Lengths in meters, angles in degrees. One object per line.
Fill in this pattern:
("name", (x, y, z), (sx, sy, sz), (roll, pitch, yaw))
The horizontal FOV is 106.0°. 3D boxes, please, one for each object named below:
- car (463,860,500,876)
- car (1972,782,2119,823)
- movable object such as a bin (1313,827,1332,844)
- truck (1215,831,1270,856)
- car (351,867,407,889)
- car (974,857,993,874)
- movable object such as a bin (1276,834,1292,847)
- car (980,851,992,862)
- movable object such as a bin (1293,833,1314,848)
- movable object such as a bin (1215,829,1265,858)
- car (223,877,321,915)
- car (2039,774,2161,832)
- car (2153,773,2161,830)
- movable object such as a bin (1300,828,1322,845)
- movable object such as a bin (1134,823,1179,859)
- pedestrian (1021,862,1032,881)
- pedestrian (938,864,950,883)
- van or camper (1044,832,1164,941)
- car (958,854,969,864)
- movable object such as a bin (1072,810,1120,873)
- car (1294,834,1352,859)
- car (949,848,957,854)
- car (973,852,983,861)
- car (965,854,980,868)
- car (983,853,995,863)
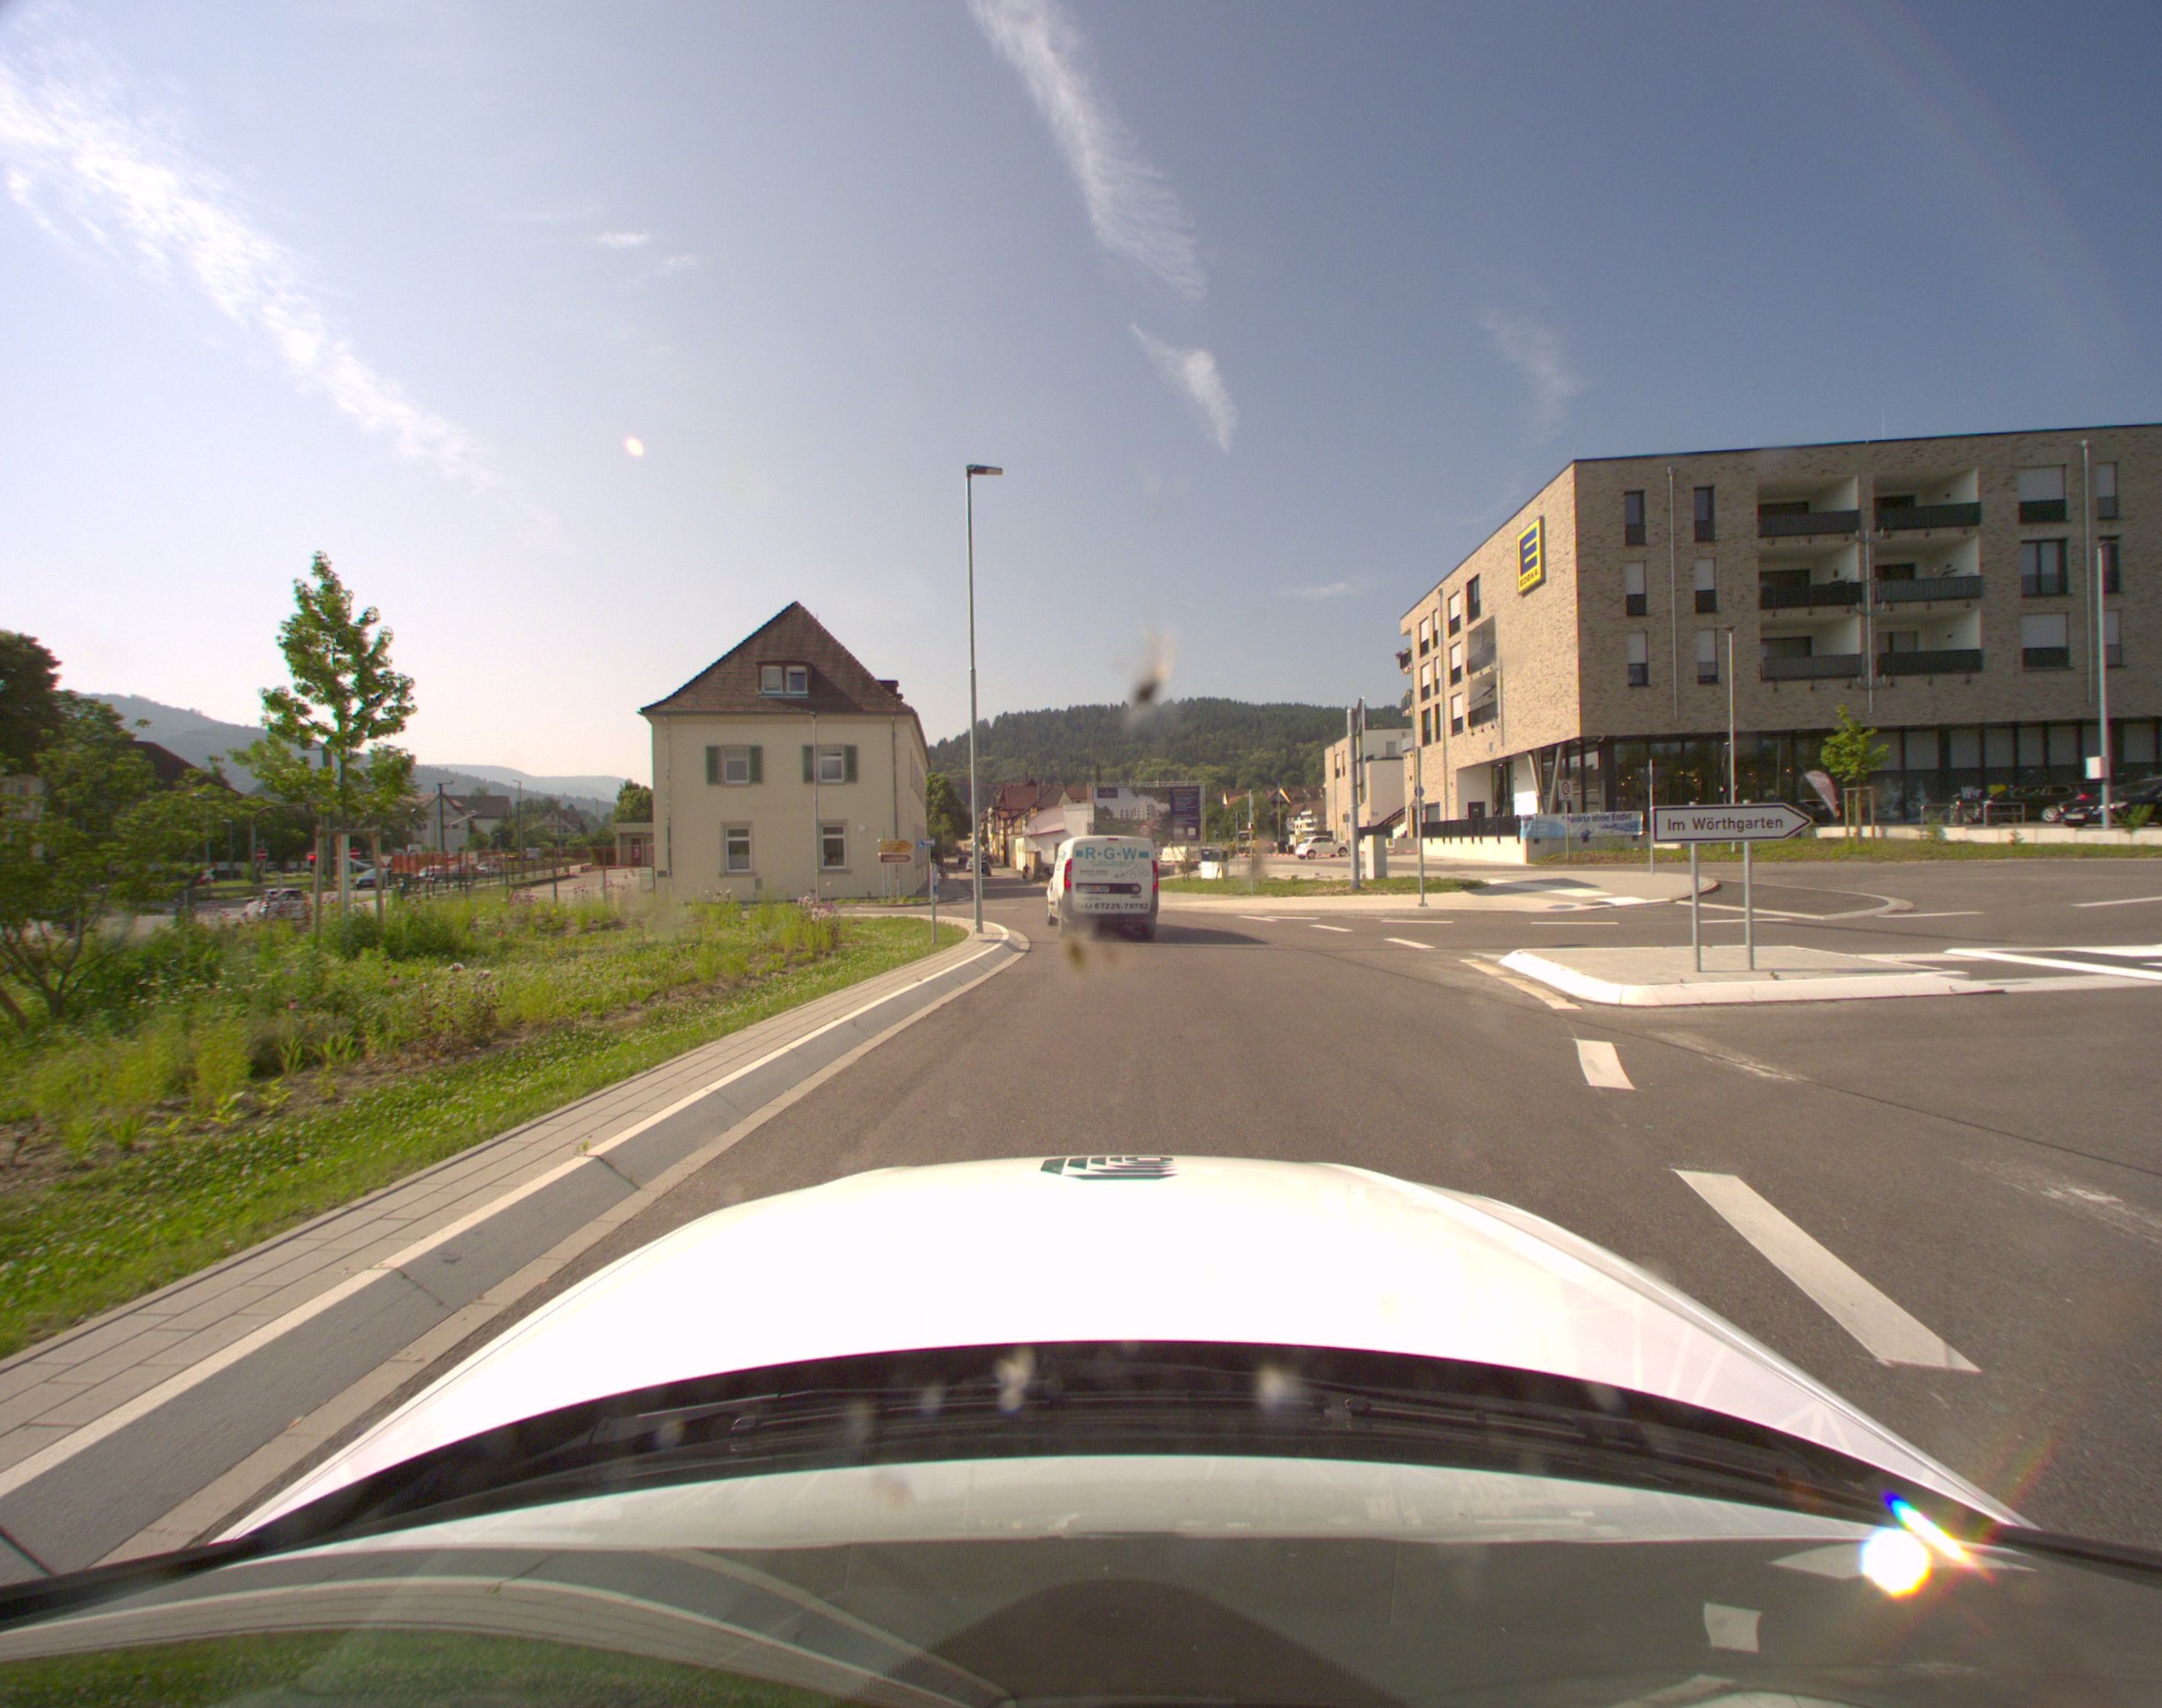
("car", (-58.799, 1.365, 79.961), (1.713, 1.397, 3.977), (1, 1, -18))
("car", (35.536, -1.875, 30.123), (1.481, 1.350, 3.332), (1, 1, 0))
("movable object such as a bin", (21.459, -1.676, 72.341), (1.295, 1.464, 1.320), (1, 1, 1))
("truck", (16.592, -1.086, 83.568), (5.274, 2.265, 2.228), (-3, 0, 16))
("car", (-52.176, 1.763, 60.616), (1.713, 1.397, 3.977), (1, 1, -18))
("car", (-10.261, 1.185, 85.341), (1.810, 1.596, 3.916), (1, 1, -8))
("movable object such as a bin", (19.940, -1.340, 79.937), (1.291, 1.268, 1.320), (1, 1, 1))
("car", (-17.133, 0.416, 146.287), (1.871, 2.013, 3.986), (-1, 1, -10))
("movable object such as a bin", (21.174, -1.279, 77.491), (1.574, 1.464, 1.320), (1, 1, 0))
("movable object such as a bin", (15.662, -1.011, 80.248), (4.577, 2.569, 1.933), (-3, 0, 16))
("car", (-34.863, 1.778, 35.104), (3.951, 1.397, 1.724), (1, 1, 25))
("car", (32.496, -1.604, 24.757), (4.426, 1.555, 1.860), (-4, 3, 3))
("car", (31.957, -1.551, 21.592), (4.426, 1.555, 1.860), (-4, 3, 3))
("movable object such as a bin", (21.275, -1.623, 75.401), (1.687, 1.464, 1.320), (1, 1, 0))
("movable object such as a bin", (7.860, -1.361, 84.358), (2.824, 3.621, 5.769), (1, 1, 25))
("pedestrian", (-4.845, 1.590, 72.593), (0.888, 1.683, 0.716), (0, -1, -10))
("pedestrian", (-11.741, 1.660, 69.830), (0.958, 1.631, 0.755), (-1, -1, -10))
("van or camper", (0.311, 0.563, 16.184), (1.826, 1.844, 4.179), (-1, 0, -6))
("car", (-19.272, 0.798, 133.451), (1.810, 1.596, 3.916), (1, 1, -8))
("movable object such as a bin", (0.875, -0.778, 53.944), (2.292, 3.854, 7.783), (1, 0, -5))
("car", (16.429, -0.525, 55.404), (3.405, 1.495, 1.588), (-3, -1, -11))
("car", (-33.229, -0.771, 211.054), (1.812, 1.596, 3.910), (1, 1, -12))
("car", (-20.468, 0.489, 162.374), (1.670, 1.508, 3.985), (-2, 1, -11))
("car", (-13.377, 0.880, 100.094), (1.810, 1.596, 3.916), (1, 1, -8))
("car", (-15.506, 0.618, 136.507), (1.810, 1.596, 3.915), (1, 1, -9))
